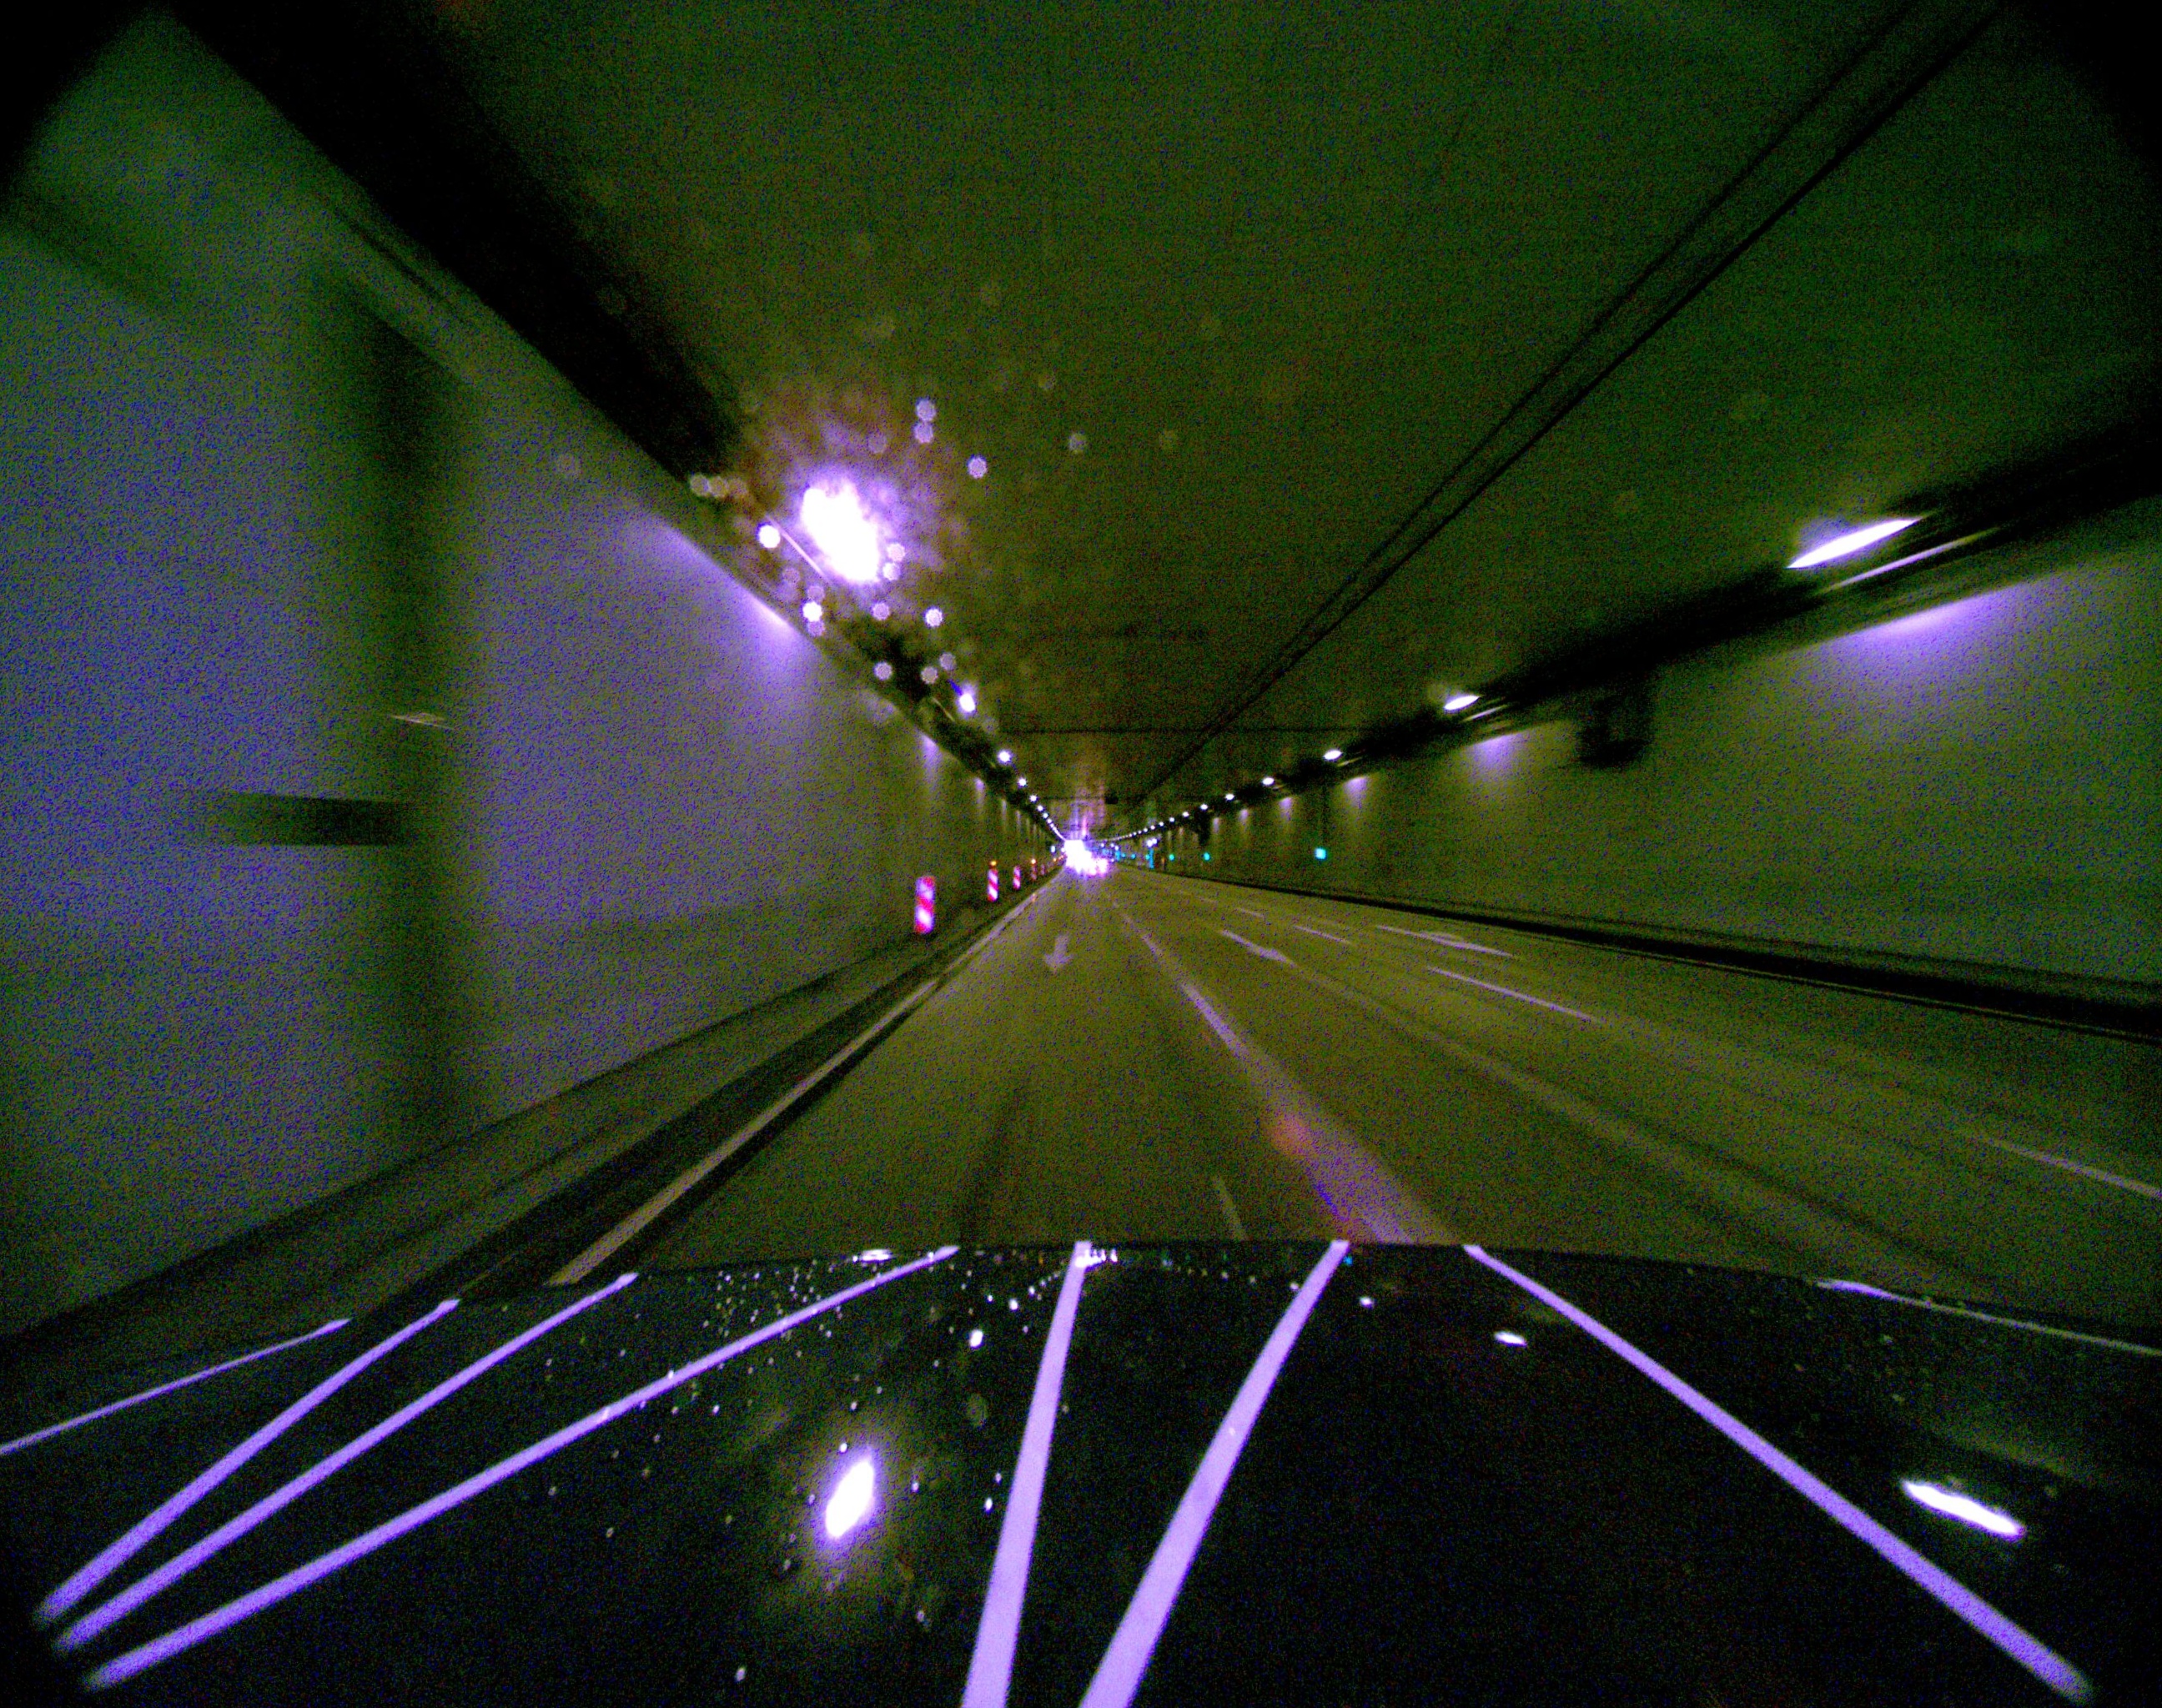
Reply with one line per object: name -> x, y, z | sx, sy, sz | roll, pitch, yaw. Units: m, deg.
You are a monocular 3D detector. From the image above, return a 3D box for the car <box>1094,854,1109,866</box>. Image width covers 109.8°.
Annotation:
car -> 2.873, 0.840, 109.014 | 1.998, 1.685, 4.000 | -2, 0, 0

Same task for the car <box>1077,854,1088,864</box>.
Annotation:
car -> 0.324, 0.945, 145.971 | 1.998, 1.686, 3.999 | -4, 1, 0

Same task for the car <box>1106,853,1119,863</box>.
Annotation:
car -> 5.564, 0.720, 134.306 | 1.998, 1.686, 4.000 | -1, 0, 0

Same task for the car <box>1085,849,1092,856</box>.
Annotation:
car -> 2.244, -0.377, 220.915 | 1.998, 1.756, 3.999 | -4, 1, 0
